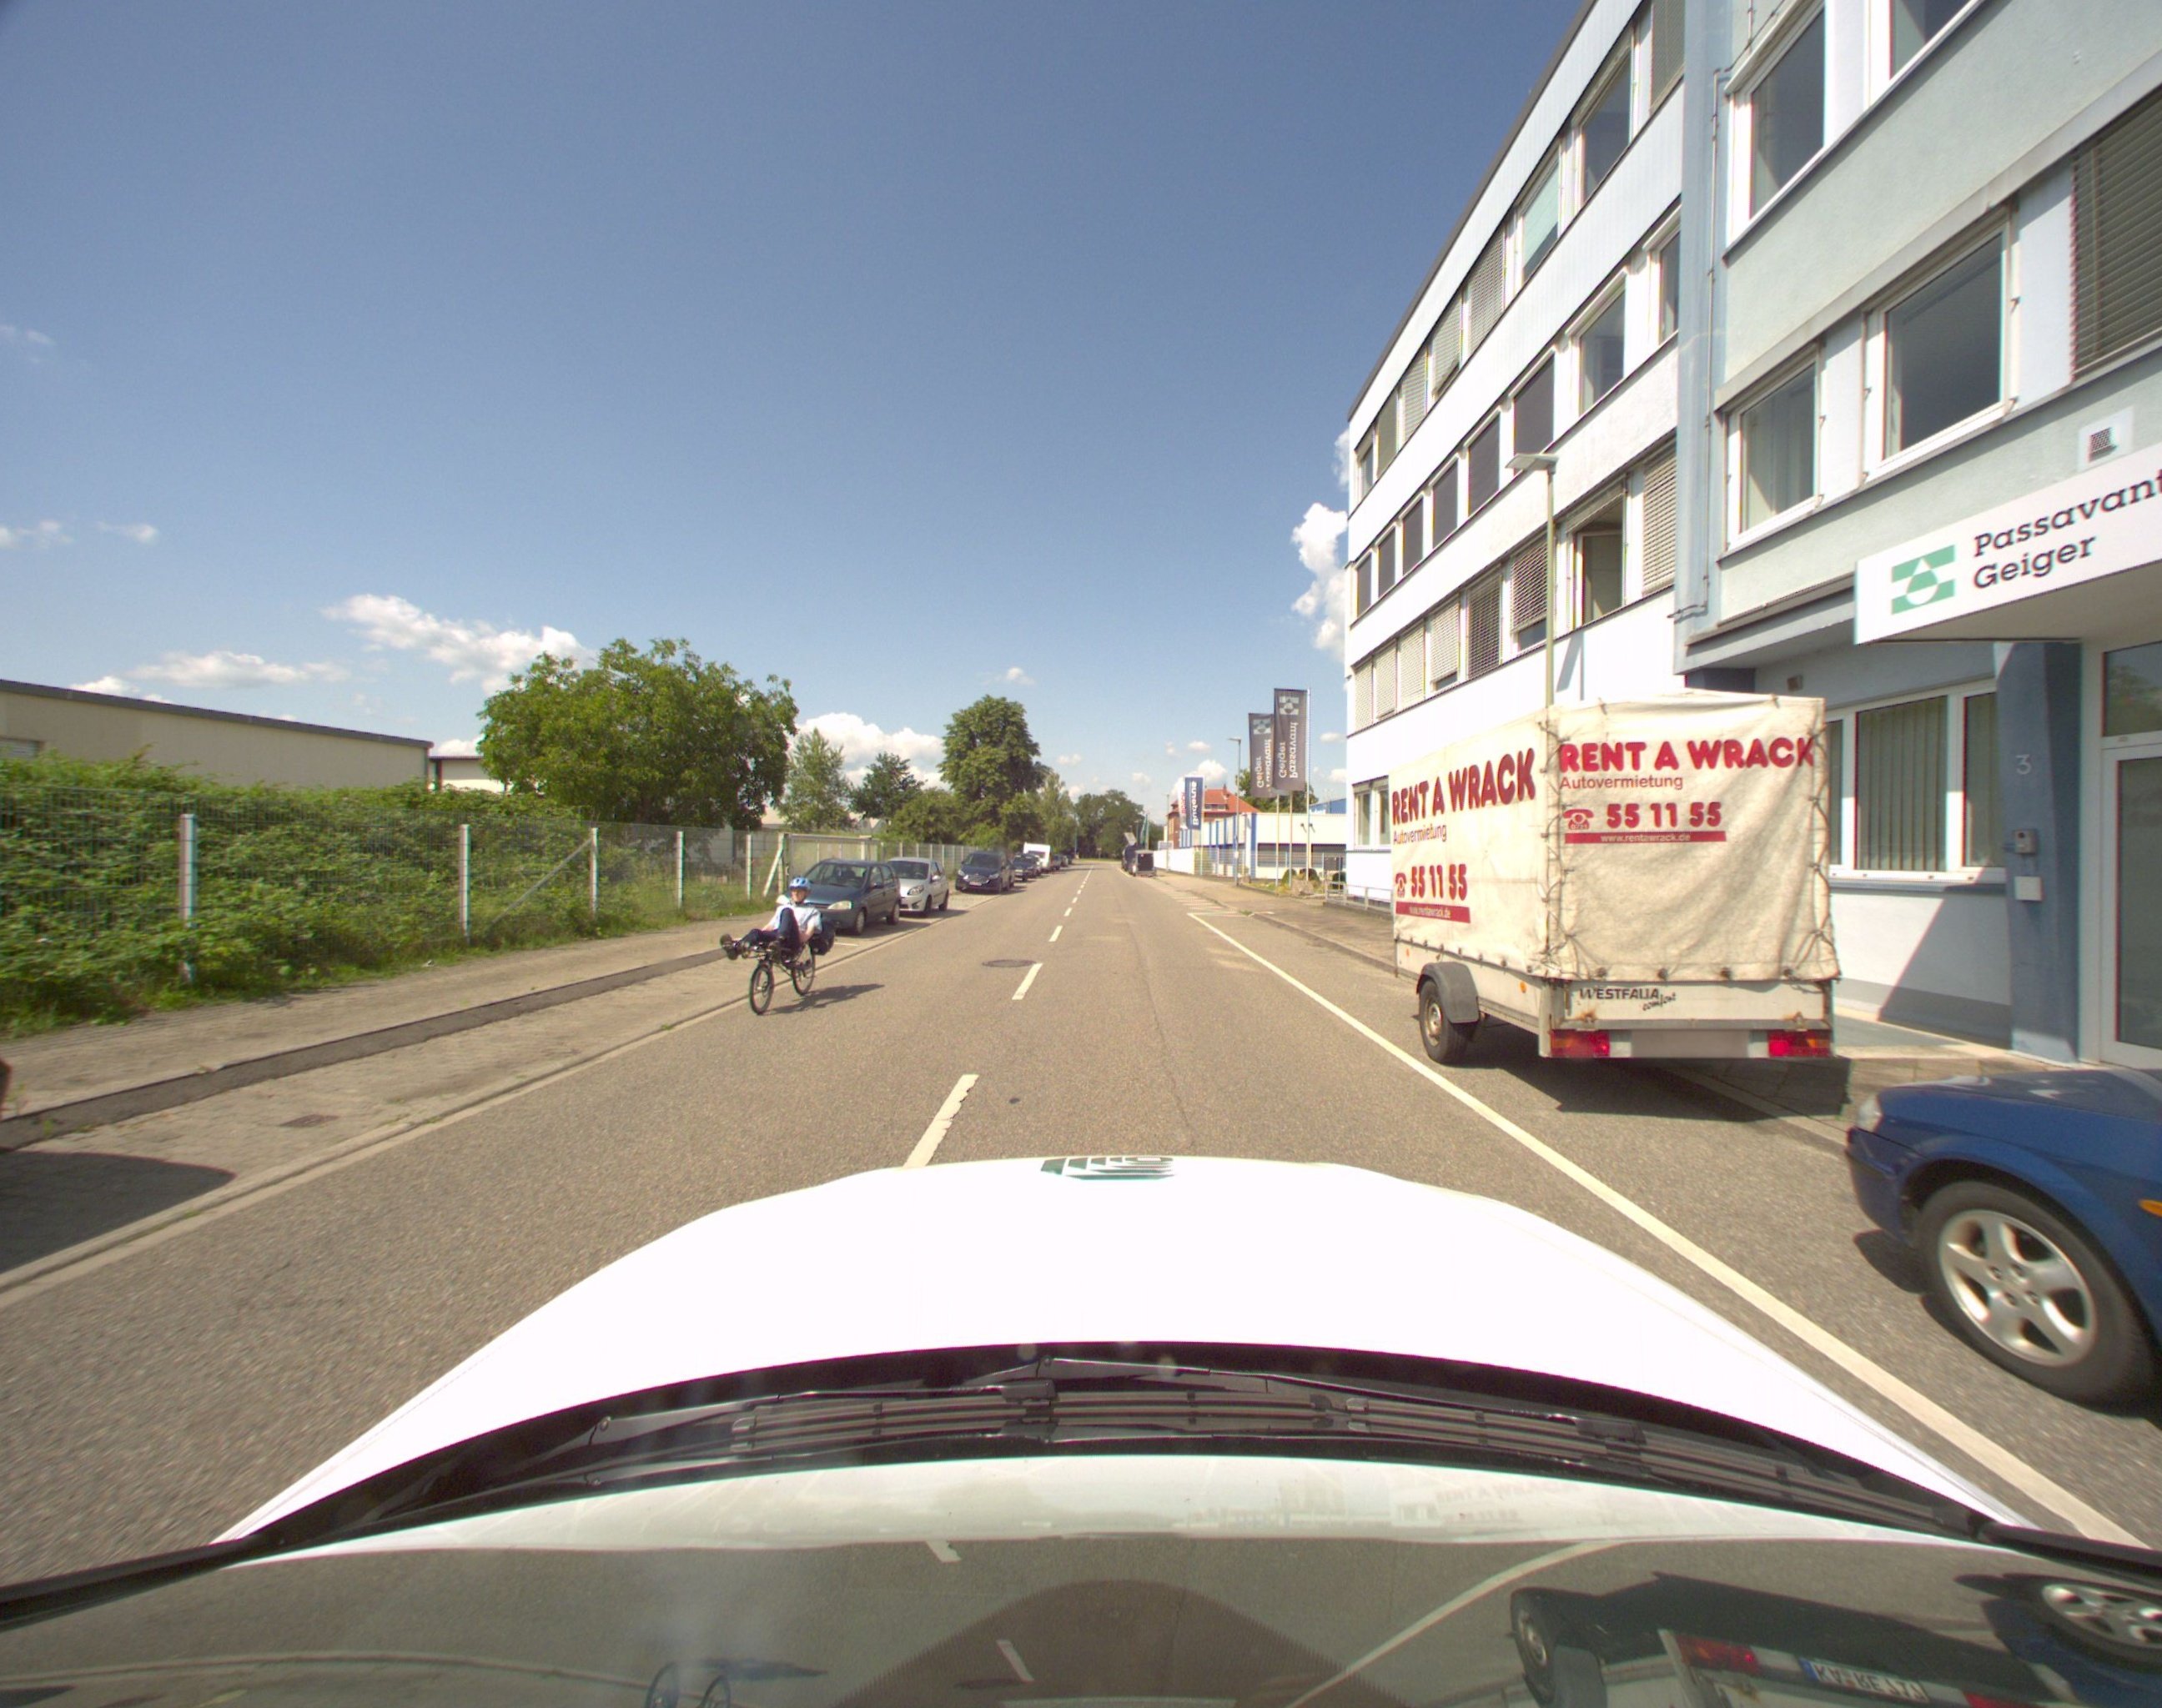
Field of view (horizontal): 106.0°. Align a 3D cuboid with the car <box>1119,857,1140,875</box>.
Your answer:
[{"bbox_3d":[4.080,0.978,69.007,1.567,1.507,4.133,1,0,1],"label":"car"}]

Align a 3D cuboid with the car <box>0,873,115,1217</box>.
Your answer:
[{"bbox_3d":[-5.454,0.768,1.898,1.613,1.429,3.828,7,0,2],"label":"car"}]

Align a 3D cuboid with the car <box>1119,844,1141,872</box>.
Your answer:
[{"bbox_3d":[5.147,0.356,86.521,1.931,2.748,6.156,-4,1,1],"label":"car"}]

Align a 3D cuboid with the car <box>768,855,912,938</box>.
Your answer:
[{"bbox_3d":[-4.880,0.787,17.033,1.562,1.399,3.802,5,0,3],"label":"car"}]

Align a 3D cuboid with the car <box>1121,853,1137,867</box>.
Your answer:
[{"bbox_3d":[5.797,0.709,98.672,1.818,1.664,4.557,0,0,2],"label":"car"}]

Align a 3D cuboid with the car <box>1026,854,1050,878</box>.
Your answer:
[{"bbox_3d":[-3.361,0.920,64.371,1.679,1.692,4.441,5,0,-2],"label":"car"}]

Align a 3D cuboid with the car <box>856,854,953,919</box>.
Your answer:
[{"bbox_3d":[-4.573,0.787,21.646,1.609,1.483,3.710,3,0,1],"label":"car"}]

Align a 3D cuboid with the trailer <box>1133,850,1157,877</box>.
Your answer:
[{"bbox_3d":[4.906,0.714,62.723,1.596,2.037,2.741,2,0,1],"label":"trailer"}]

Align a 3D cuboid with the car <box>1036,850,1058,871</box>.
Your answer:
[{"bbox_3d":[-3.562,0.720,86.231,1.892,1.954,4.959,6,0,1],"label":"car"}]

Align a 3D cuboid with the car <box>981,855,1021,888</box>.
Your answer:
[{"bbox_3d":[-3.912,0.850,40.426,1.572,1.512,4.200,2,0,-1],"label":"car"}]

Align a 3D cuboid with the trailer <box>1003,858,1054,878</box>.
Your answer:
[{"bbox_3d":[-3.079,0.815,49.596,2.262,0.883,7.136,5,0,3],"label":"trailer"}]

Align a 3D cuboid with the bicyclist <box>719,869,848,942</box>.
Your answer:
[{"bbox_3d":[-3.132,0.510,8.765,0.563,0.631,1.859,2,1,4],"label":"bicyclist"}]

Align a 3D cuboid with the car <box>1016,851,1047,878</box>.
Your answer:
[{"bbox_3d":[-3.471,0.715,57.965,1.821,1.793,4.736,1,0,1],"label":"car"}]

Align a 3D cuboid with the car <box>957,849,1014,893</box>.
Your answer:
[{"bbox_3d":[-4.042,0.673,35.098,1.795,1.750,4.713,1,0,1],"label":"car"}]

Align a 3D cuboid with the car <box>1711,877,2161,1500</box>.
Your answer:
[{"bbox_3d":[3.563,0.855,1.373,1.711,1.542,4.405,0,0,2],"label":"car"}]

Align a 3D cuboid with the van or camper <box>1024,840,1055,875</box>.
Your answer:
[{"bbox_3d":[-3.656,0.322,73.564,2.256,2.803,6.832,4,0,0],"label":"van or camper"}]

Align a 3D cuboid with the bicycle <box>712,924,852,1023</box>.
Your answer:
[{"bbox_3d":[-3.138,1.220,8.789,0.585,0.741,2.127,1,0,4],"label":"bicycle"}]

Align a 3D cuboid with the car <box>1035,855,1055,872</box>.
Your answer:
[{"bbox_3d":[-3.529,0.939,79.930,1.619,1.532,4.269,4,0,1],"label":"car"}]

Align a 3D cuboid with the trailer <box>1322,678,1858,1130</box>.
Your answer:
[{"bbox_3d":[3.646,0.268,7.189,1.860,2.553,5.077,1,0,4],"label":"trailer"}]
